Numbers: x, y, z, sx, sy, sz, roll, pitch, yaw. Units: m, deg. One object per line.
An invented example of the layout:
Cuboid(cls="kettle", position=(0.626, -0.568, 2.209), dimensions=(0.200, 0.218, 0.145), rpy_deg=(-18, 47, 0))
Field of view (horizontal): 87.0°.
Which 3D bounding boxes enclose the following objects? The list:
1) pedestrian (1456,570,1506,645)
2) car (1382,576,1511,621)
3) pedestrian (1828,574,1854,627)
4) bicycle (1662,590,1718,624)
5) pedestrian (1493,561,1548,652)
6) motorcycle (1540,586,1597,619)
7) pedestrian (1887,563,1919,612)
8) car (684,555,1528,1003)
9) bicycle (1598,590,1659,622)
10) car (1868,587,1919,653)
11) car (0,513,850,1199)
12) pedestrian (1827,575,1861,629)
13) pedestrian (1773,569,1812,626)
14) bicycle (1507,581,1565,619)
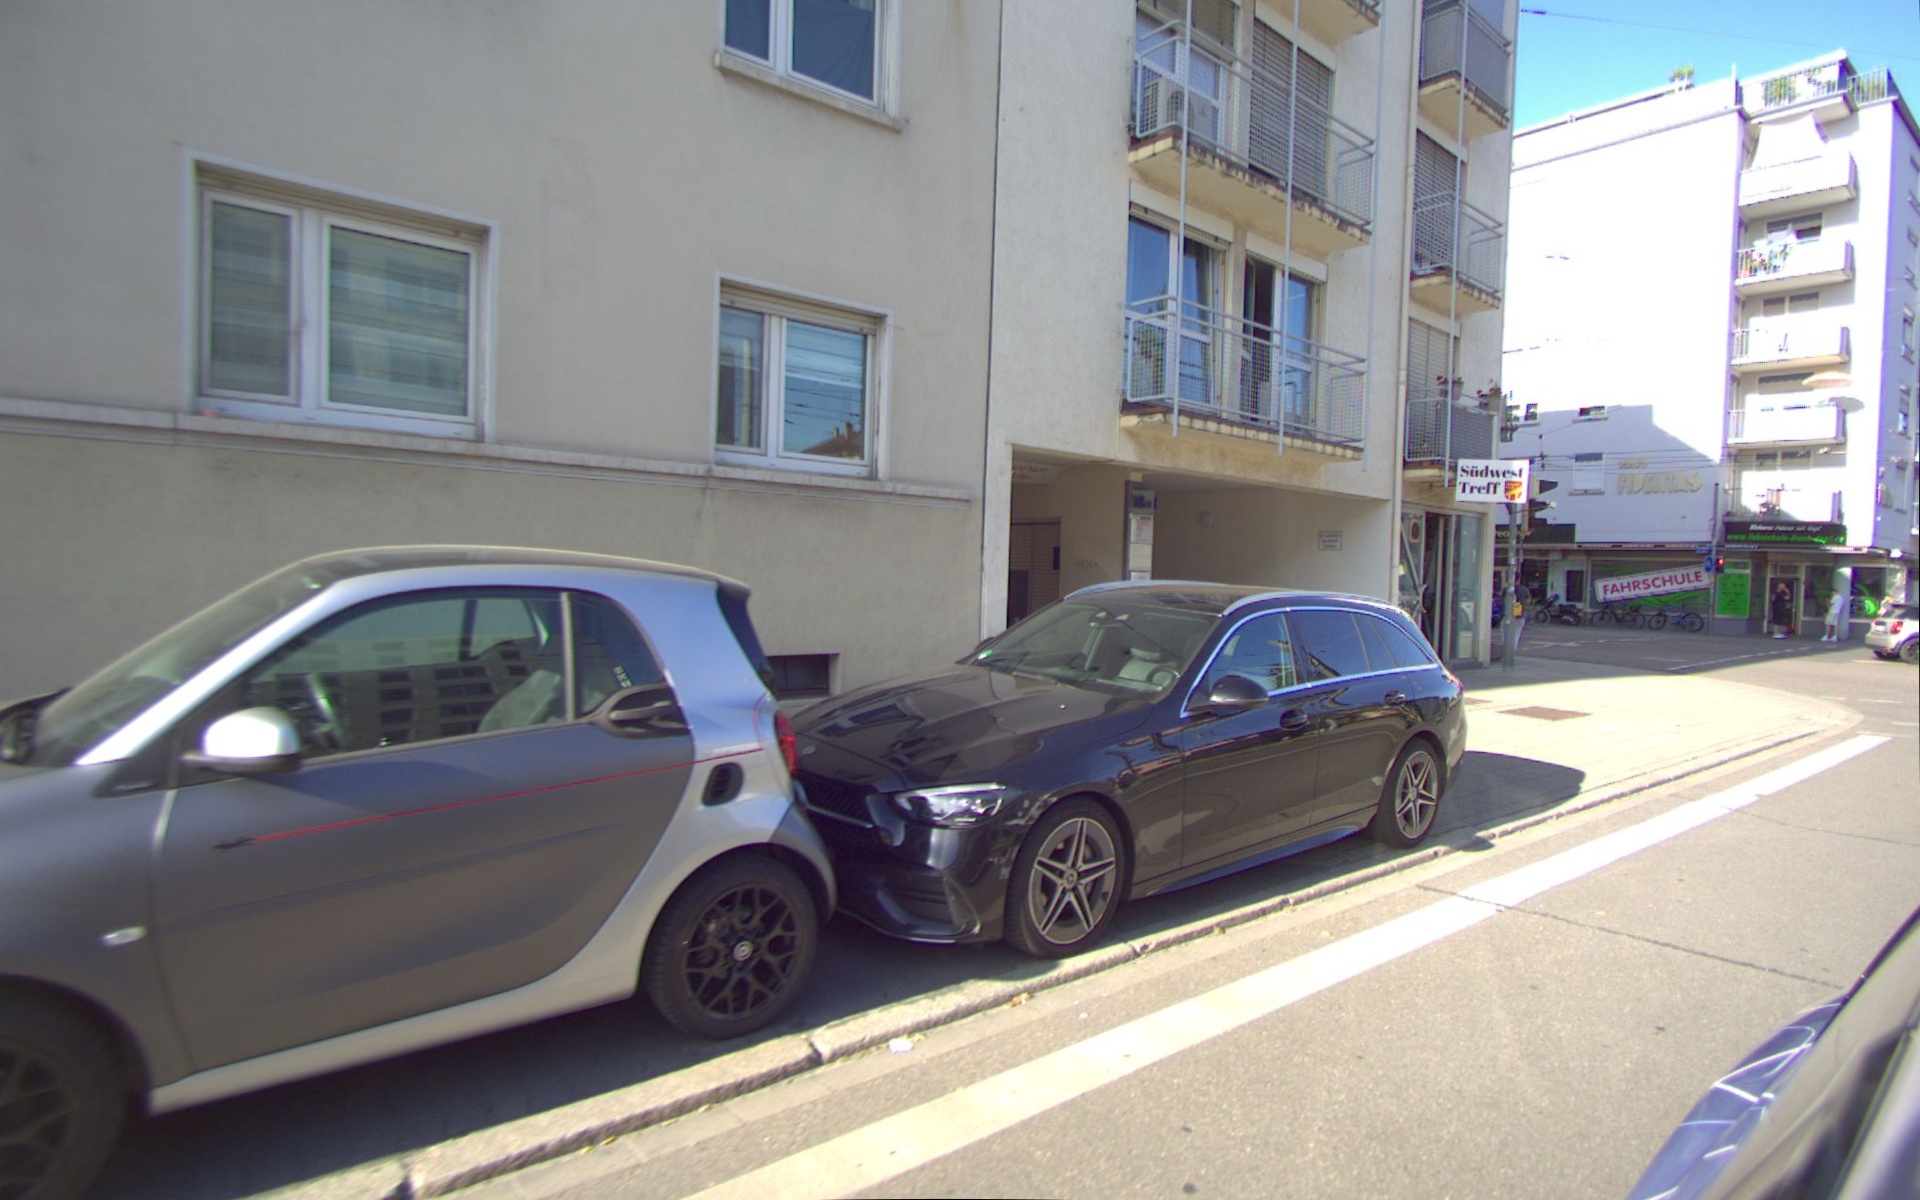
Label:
Cuboid(cls="pedestrian", position=(12.067, 0.159, 23.465), dimensions=(0.529, 1.643, 0.735), rpy_deg=(5, 1, -15))
Cuboid(cls="car", position=(18.911, -0.108, 39.494), dimensions=(1.745, 1.521, 4.230), rpy_deg=(-4, 4, -42))
Cuboid(cls="pedestrian", position=(31.930, 0.005, 36.670), dimensions=(0.510, 1.878, 0.597), rpy_deg=(-3, 4, -44))
Cuboid(cls="bicycle", position=(26.694, 0.252, 37.032), dimensions=(0.543, 1.119, 1.538), rpy_deg=(-2, 4, -38))
Cuboid(cls="pedestrian", position=(11.355, 0.114, 20.535), dimensions=(0.679, 1.763, 1.036), rpy_deg=(3, 3, 18))
Cuboid(cls="motorcycle", position=(23.856, 0.085, 39.723), dimensions=(0.598, 1.148, 1.795), rpy_deg=(-3, 4, -40))
Cuboid(cls="pedestrian", position=(33.457, -0.439, 35.817), dimensions=(0.746, 1.671, 0.700), rpy_deg=(3, 3, -38))
Cuboid(cls="car", position=(1.089, 0.552, 5.569), dimensions=(4.656, 1.414, 1.889), rpy_deg=(-1, 5, -39))
Cuboid(cls="bicycle", position=(25.312, 0.205, 38.330), dimensions=(0.598, 1.101, 1.795), rpy_deg=(-3, 4, -40))
Cuboid(cls="car", position=(23.598, 0.489, 23.159), dimensions=(3.775, 1.442, 1.716), rpy_deg=(1, 3, 24))
Cuboid(cls="car", position=(-2.007, 0.535, 3.111), dimensions=(2.936, 1.544, 1.556), rpy_deg=(-1, 4, -40))
Cuboid(cls="pedestrian", position=(30.519, 0.068, 34.939), dimensions=(0.723, 1.815, 0.662), rpy_deg=(0, 2, -34))
Cuboid(cls="pedestrian", position=(29.006, -0.097, 35.270), dimensions=(0.563, 1.922, 0.741), rpy_deg=(1, 4, -22))
Cuboid(cls="bicycle", position=(21.712, -0.011, 38.191), dimensions=(0.598, 1.330, 1.795), rpy_deg=(-3, 4, -40))
